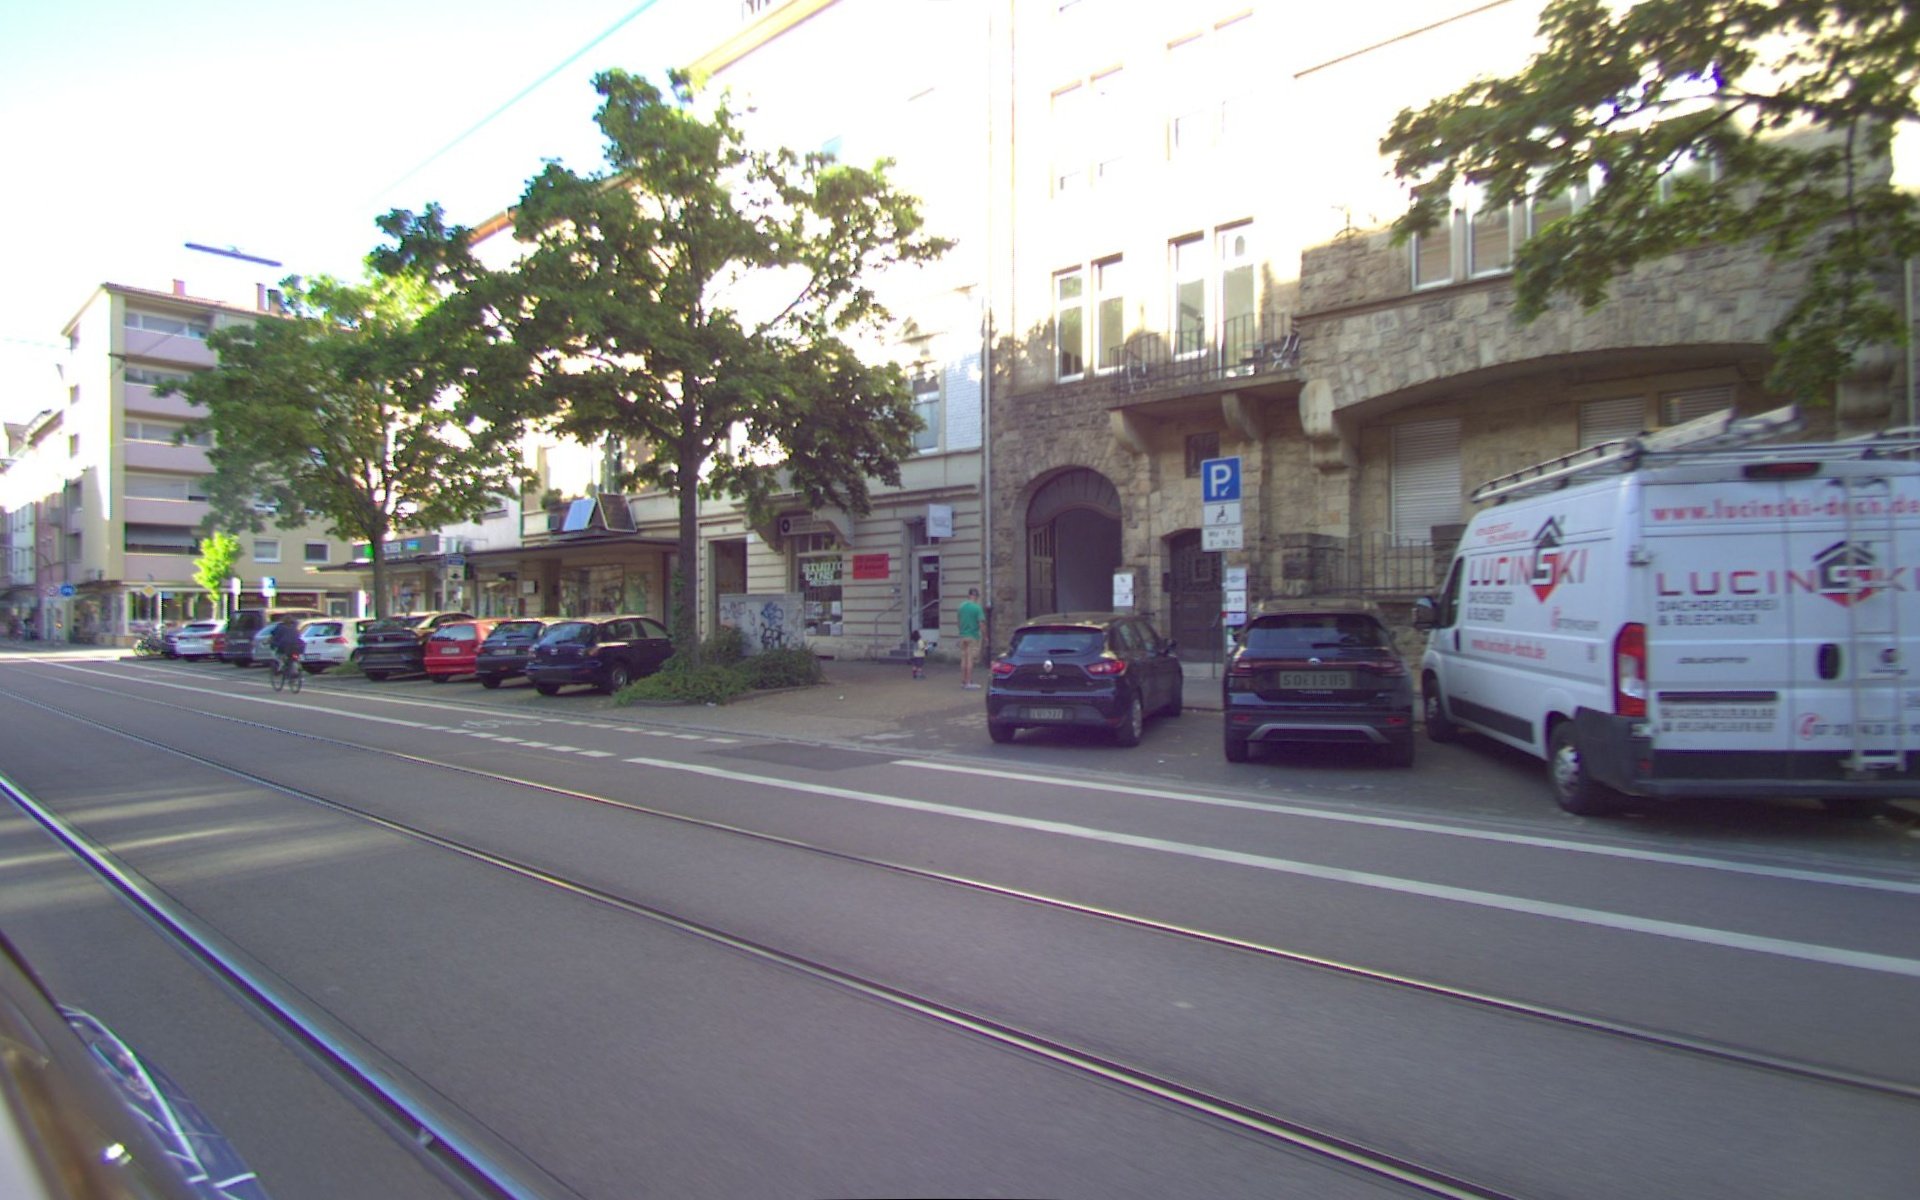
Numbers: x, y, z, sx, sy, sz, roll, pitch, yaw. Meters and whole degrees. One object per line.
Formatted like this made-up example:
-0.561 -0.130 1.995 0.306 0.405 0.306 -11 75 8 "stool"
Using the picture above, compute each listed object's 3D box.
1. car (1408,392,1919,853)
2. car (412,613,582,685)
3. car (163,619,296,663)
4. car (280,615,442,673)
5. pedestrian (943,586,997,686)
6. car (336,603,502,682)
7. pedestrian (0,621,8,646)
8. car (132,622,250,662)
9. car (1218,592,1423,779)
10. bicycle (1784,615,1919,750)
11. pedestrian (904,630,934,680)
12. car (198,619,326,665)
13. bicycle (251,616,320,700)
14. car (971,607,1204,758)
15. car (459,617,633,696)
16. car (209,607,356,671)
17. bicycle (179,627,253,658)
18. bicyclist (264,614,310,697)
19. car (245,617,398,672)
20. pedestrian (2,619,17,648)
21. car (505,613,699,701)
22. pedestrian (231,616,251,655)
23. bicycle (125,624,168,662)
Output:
5.572 0.138 8.863 1.787 2.770 5.370 -1 0 11 "car"
-10.941 1.108 24.236 1.846 1.500 3.990 -1 0 8 "car"
-26.046 1.427 36.226 1.734 1.410 3.783 -1 0 8 "car"
-16.811 1.192 28.630 1.749 1.440 3.826 -1 0 15 "car"
0.178 0.622 17.908 0.761 1.739 0.572 -1 0 40 "pedestrian"
-13.434 0.977 25.469 1.967 1.796 4.369 -1 0 -2 "car"
-60.670 2.109 63.950 0.623 1.560 0.629 -1 0 40 "pedestrian"
-28.810 1.553 38.054 1.605 1.347 3.464 -1 0 6 "car"
3.699 0.747 10.947 1.696 1.630 3.980 -1 0 15 "car"
8.258 0.702 8.777 1.696 1.145 0.383 -1 0 41 "bicycle"
-0.791 1.064 19.650 0.459 0.929 0.350 -1 0 40 "pedestrian"
-23.771 1.401 34.605 1.631 1.484 3.458 -1 -1 12 "car"
-14.337 1.182 21.490 2.096 1.691 0.673 -1 0 41 "bicycle"
1.742 0.865 12.557 1.795 1.500 3.967 -1 0 24 "car"
-8.982 1.169 22.336 1.785 1.500 3.990 -1 0 8 "car"
-21.691 1.196 32.587 1.777 1.798 3.812 -1 1 10 "car"
-30.386 1.735 41.356 2.396 1.118 0.685 -2 -2 -9 "bicycle"
-14.230 1.157 21.387 0.726 1.694 0.627 -1 0 41 "bicyclist"
-19.253 1.304 30.728 1.681 1.460 4.006 -1 0 10 "car"
-57.026 1.992 60.712 0.616 1.698 0.557 -1 0 39 "pedestrian"
-6.922 1.043 20.045 1.788 1.500 3.984 -1 0 13 "car"
-31.454 1.557 44.278 0.641 1.665 0.563 -1 0 41 "pedestrian"
-30.874 1.643 38.397 2.431 1.329 0.675 -4 -2 37 "bicycle"
